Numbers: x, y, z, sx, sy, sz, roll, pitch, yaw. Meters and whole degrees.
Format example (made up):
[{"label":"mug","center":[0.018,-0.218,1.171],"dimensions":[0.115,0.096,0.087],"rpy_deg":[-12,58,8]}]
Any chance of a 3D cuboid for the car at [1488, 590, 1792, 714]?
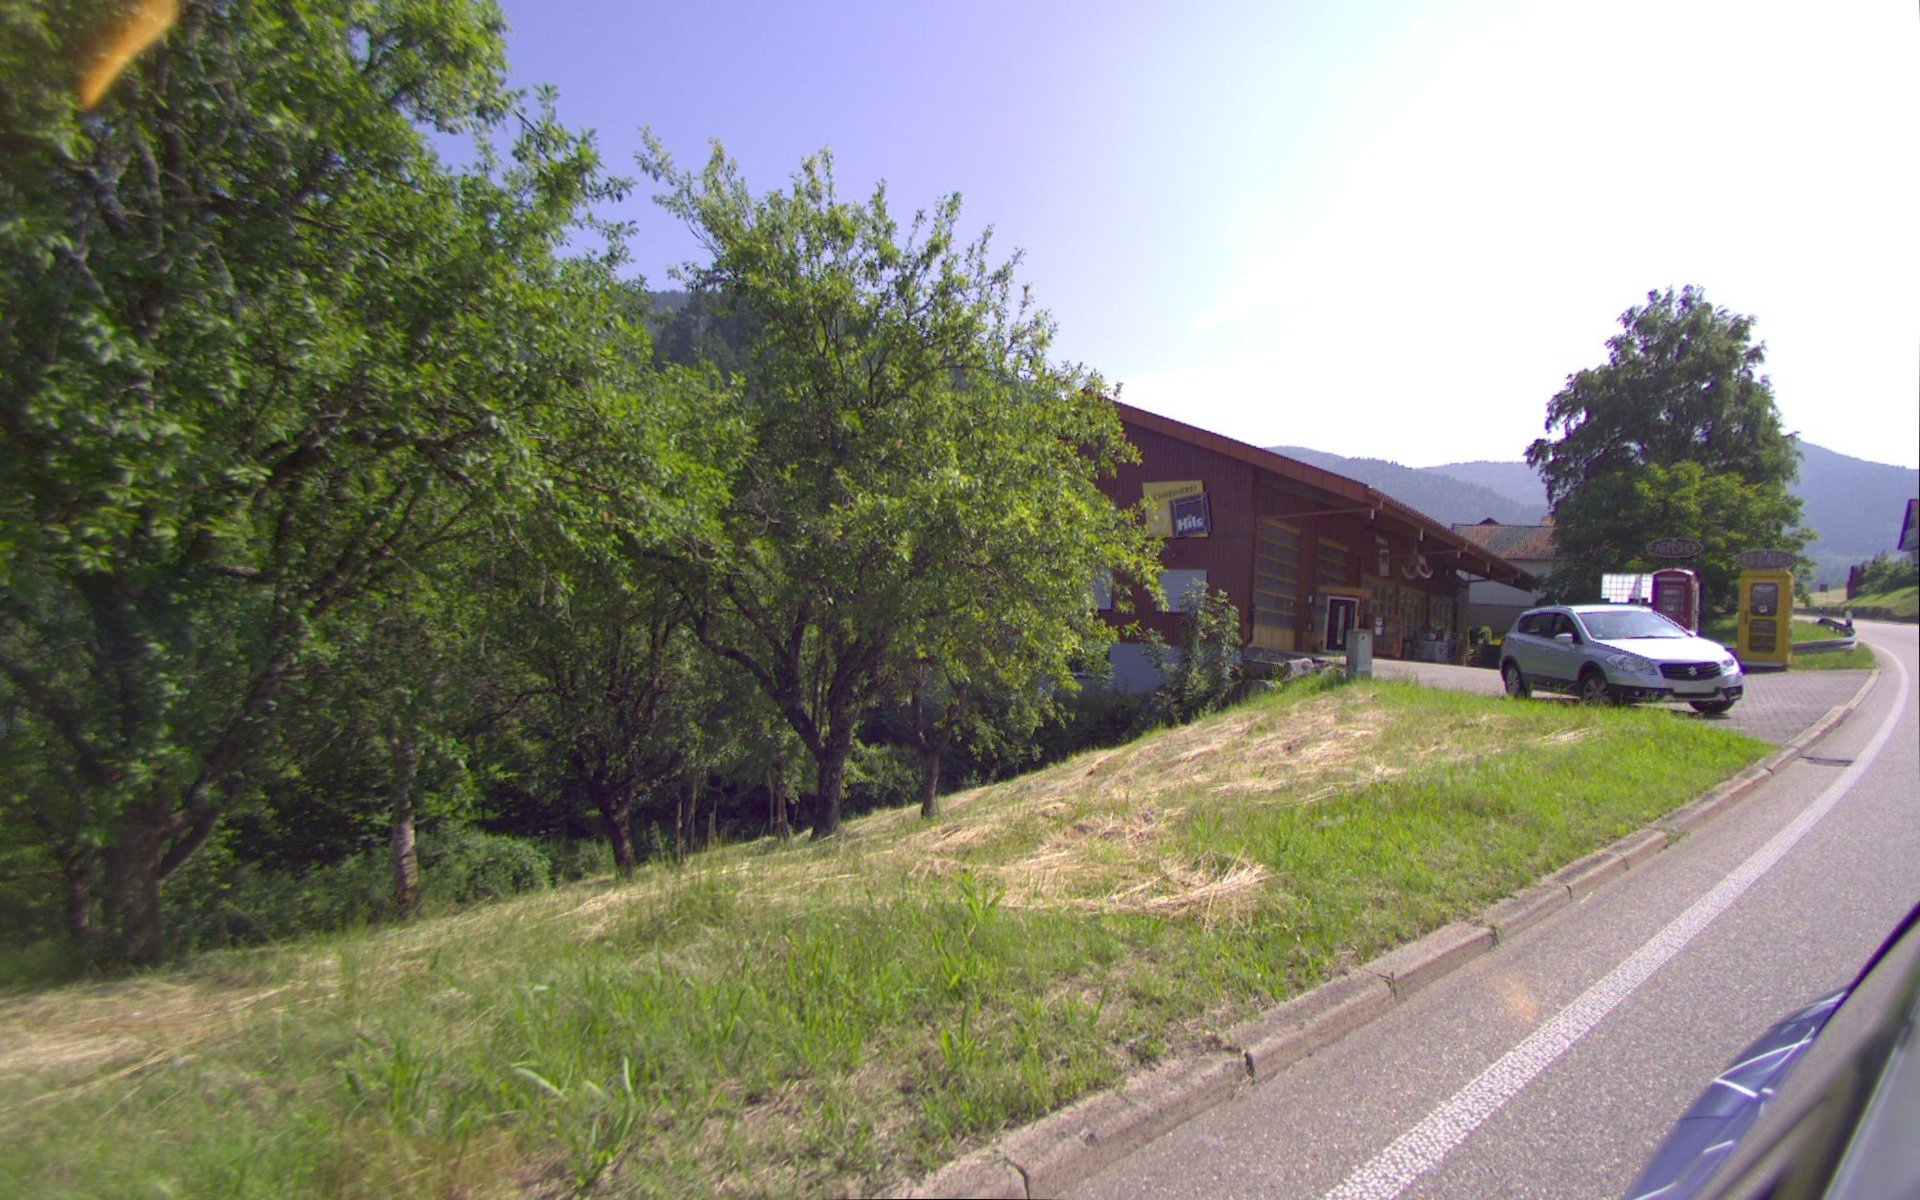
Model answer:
[{"label":"car","center":[10.088,0.743,15.535],"dimensions":[1.872,1.591,4.455],"rpy_deg":[-1,-1,5]}]
